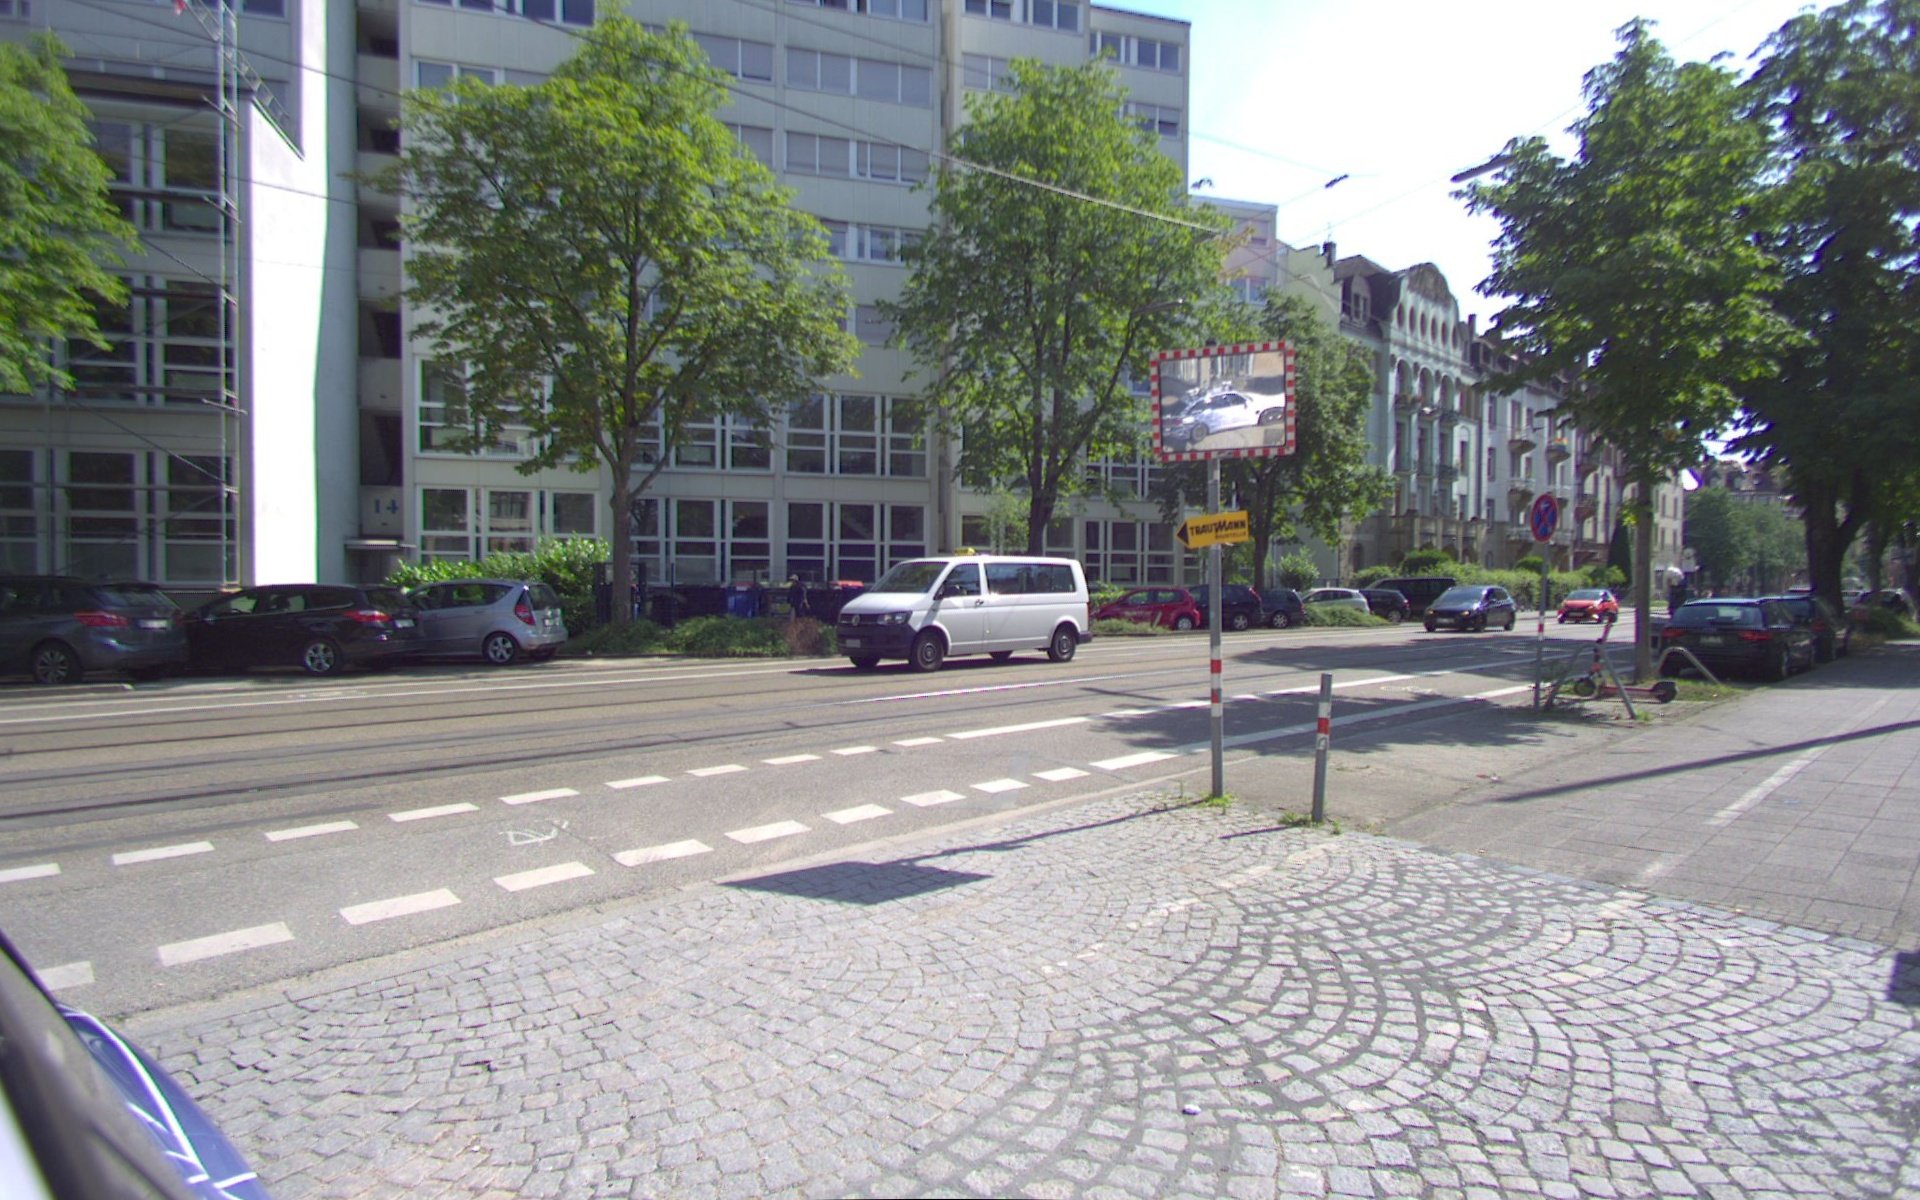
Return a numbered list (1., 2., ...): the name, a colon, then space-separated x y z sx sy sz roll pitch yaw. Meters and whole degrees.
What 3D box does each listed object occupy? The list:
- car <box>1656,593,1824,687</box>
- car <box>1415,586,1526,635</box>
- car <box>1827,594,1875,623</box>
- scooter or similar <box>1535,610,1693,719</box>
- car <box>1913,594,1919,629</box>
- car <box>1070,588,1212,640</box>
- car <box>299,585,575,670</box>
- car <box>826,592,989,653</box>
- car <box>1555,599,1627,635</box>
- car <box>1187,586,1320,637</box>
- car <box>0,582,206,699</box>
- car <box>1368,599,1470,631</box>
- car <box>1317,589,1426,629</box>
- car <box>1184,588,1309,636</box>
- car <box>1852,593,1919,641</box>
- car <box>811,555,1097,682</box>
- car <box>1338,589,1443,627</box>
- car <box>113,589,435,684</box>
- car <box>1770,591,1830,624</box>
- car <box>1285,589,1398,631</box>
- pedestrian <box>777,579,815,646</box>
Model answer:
1. car: 14.118 0.635 18.246 3.939 1.487 1.736 -1 0 -42
2. car: 17.243 0.331 34.081 4.324 1.533 1.945 -1 0 -43
3. car: 59.292 0.539 67.304 4.401 1.844 2.002 0 1 -43
4. scooter or similar: 7.695 0.719 11.962 0.485 1.194 1.487 -1 0 -34
5. car: 47.591 0.543 48.875 3.937 1.674 1.832 0 0 -40
6. car: 5.678 0.446 32.097 4.162 1.550 1.782 -1 0 2
7. car: -9.696 0.485 18.964 4.281 1.497 1.801 0 0 2
8. car: -1.300 0.543 25.626 3.812 1.474 1.703 0 0 13
9. car: 27.053 0.704 43.332 4.113 1.423 1.664 -1 0 -44
10. car: 9.820 0.378 34.076 3.946 1.652 1.803 -1 0 2
11. car: -13.681 0.538 14.564 4.329 1.577 1.808 0 1 0
12. car: 21.404 0.682 47.324 3.947 1.428 1.783 0 0 3
13. car: 17.535 0.368 43.275 3.950 1.674 1.826 0 0 6
14. car: 10.234 0.423 36.359 3.946 1.652 1.831 -1 0 2
15. car: 34.774 0.589 37.652 3.937 1.674 1.832 0 0 -40
16. car: 0.040 0.268 18.214 5.169 1.960 1.998 0 0 -43
17. car: 19.190 0.343 45.256 3.950 1.674 1.826 0 0 6
18. car: -11.225 0.564 16.776 4.125 1.487 1.802 0 0 -1
19. car: 44.596 0.351 53.721 3.937 1.674 1.832 0 0 -40
20. car: 15.499 0.394 41.260 3.950 1.674 1.826 0 0 6
21. pedestrian: -4.523 0.335 27.955 0.742 1.790 0.732 0 0 -45
